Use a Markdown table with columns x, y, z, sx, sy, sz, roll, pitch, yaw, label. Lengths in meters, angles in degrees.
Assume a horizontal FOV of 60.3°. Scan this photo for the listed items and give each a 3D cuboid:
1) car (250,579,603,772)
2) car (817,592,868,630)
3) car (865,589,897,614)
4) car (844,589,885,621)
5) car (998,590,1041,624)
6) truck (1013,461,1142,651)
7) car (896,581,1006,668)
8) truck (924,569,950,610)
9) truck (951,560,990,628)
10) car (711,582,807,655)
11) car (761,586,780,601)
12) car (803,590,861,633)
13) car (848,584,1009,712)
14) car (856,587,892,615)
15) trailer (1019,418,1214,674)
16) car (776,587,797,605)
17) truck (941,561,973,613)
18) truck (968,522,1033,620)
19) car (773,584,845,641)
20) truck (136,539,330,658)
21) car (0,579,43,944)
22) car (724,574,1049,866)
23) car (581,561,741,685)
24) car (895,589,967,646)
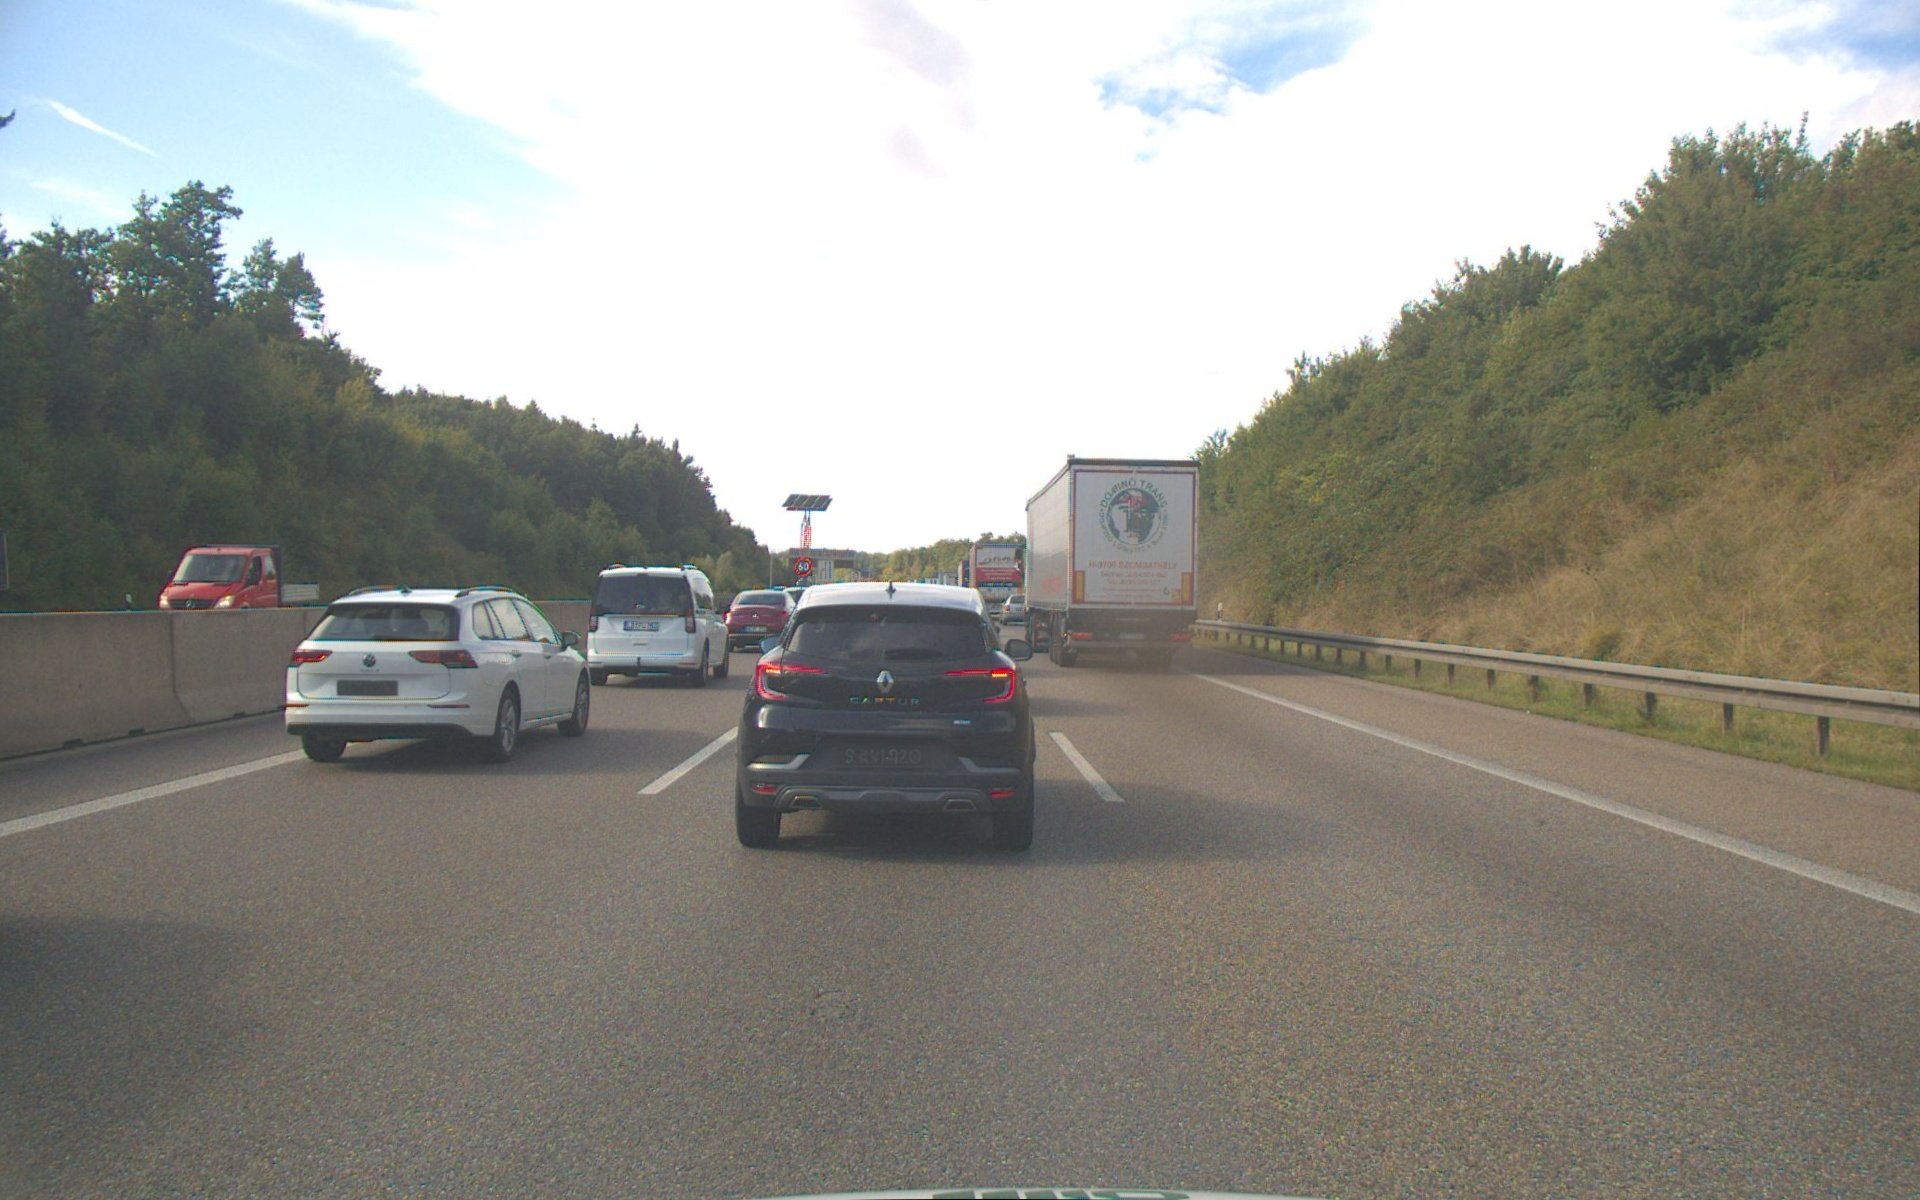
| x | y | z | sx | sy | sz | roll | pitch | yaw | label |
| --- | --- | --- | --- | --- | --- | --- | --- | --- | --- |
| -4.632 | 0.596 | 15.084 | 1.767 | 1.486 | 4.308 | 1 | 0 | 0 | car |
| -5.188 | 0.479 | 73.612 | 1.953 | 1.641 | 4.000 | 1 | 0 | 0 | car |
| -5.354 | 0.117 | 112.066 | 1.953 | 1.641 | 4.000 | 1 | 0 | 0 | car |
| -5.105 | 0.261 | 88.755 | 1.953 | 1.641 | 4.000 | 1 | 0 | 0 | car |
| 2.782 | 0.325 | 78.211 | 1.768 | 1.559 | 3.924 | 1 | 0 | -2 | car |
| 3.056 | -1.118 | 44.693 | 2.936 | 4.749 | 5.938 | 1 | 0 | -1 | truck |
| -0.159 | 0.447 | 31.736 | 1.953 | 1.540 | 4.000 | 1 | 0 | 0 | car |
| -2.948 | -1.288 | 218.402 | 3.102 | 5.249 | 12.736 | 1 | 0 | 0 | truck |
| 0.915 | -0.471 | 143.343 | 3.102 | 5.601 | 12.736 | 1 | 0 | 0 | truck |
| -4.867 | 0.439 | 40.559 | 1.817 | 1.669 | 3.925 | 1 | 0 | 0 | car |
| -23.547 | -0.774 | 205.400 | 1.814 | 1.841 | 4.924 | 1 | 0 | -1 | car |
| -5.082 | 0.451 | 66.079 | 1.953 | 1.641 | 4.000 | 1 | 0 | 0 | car |
| -0.390 | 0.596 | 22.341 | 1.953 | 1.540 | 4.000 | 1 | 0 | 0 | car |
| -5.201 | 0.071 | 100.068 | 1.953 | 1.641 | 4.000 | 1 | 0 | 0 | car |
| 3.160 | -1.054 | 37.548 | 2.941 | 4.742 | 13.287 | 1 | 0 | -1 | trailer |
| -18.670 | -0.458 | 178.492 | 1.814 | 1.841 | 4.924 | 1 | 0 | -1 | car |
| -0.326 | -1.354 | 184.334 | 3.101 | 5.601 | 12.739 | 1 | 0 | 2 | truck |
| 2.172 | -1.488 | 93.821 | 3.296 | 5.132 | 12.736 | 1 | 0 | 0 | truck |
| -4.886 | 0.405 | 53.979 | 1.953 | 1.752 | 4.000 | 1 | 0 | 0 | car |
| -19.200 | -0.064 | 44.122 | 2.373 | 2.905 | 6.429 | 1 | 0 | -1 | truck |
| -4.785 | 0.653 | 4.611 | 1.805 | 1.481 | 4.747 | 1 | 0 | 0 | car |
| -0.341 | 0.653 | 11.050 | 1.767 | 1.579 | 4.001 | 0 | 0 | 2 | car |
| -4.765 | 0.359 | 26.949 | 1.873 | 1.821 | 4.416 | 1 | 0 | -2 | car |
| -0.800 | 0.501 | 47.633 | 1.953 | 1.540 | 4.000 | 1 | 0 | 0 | car |
